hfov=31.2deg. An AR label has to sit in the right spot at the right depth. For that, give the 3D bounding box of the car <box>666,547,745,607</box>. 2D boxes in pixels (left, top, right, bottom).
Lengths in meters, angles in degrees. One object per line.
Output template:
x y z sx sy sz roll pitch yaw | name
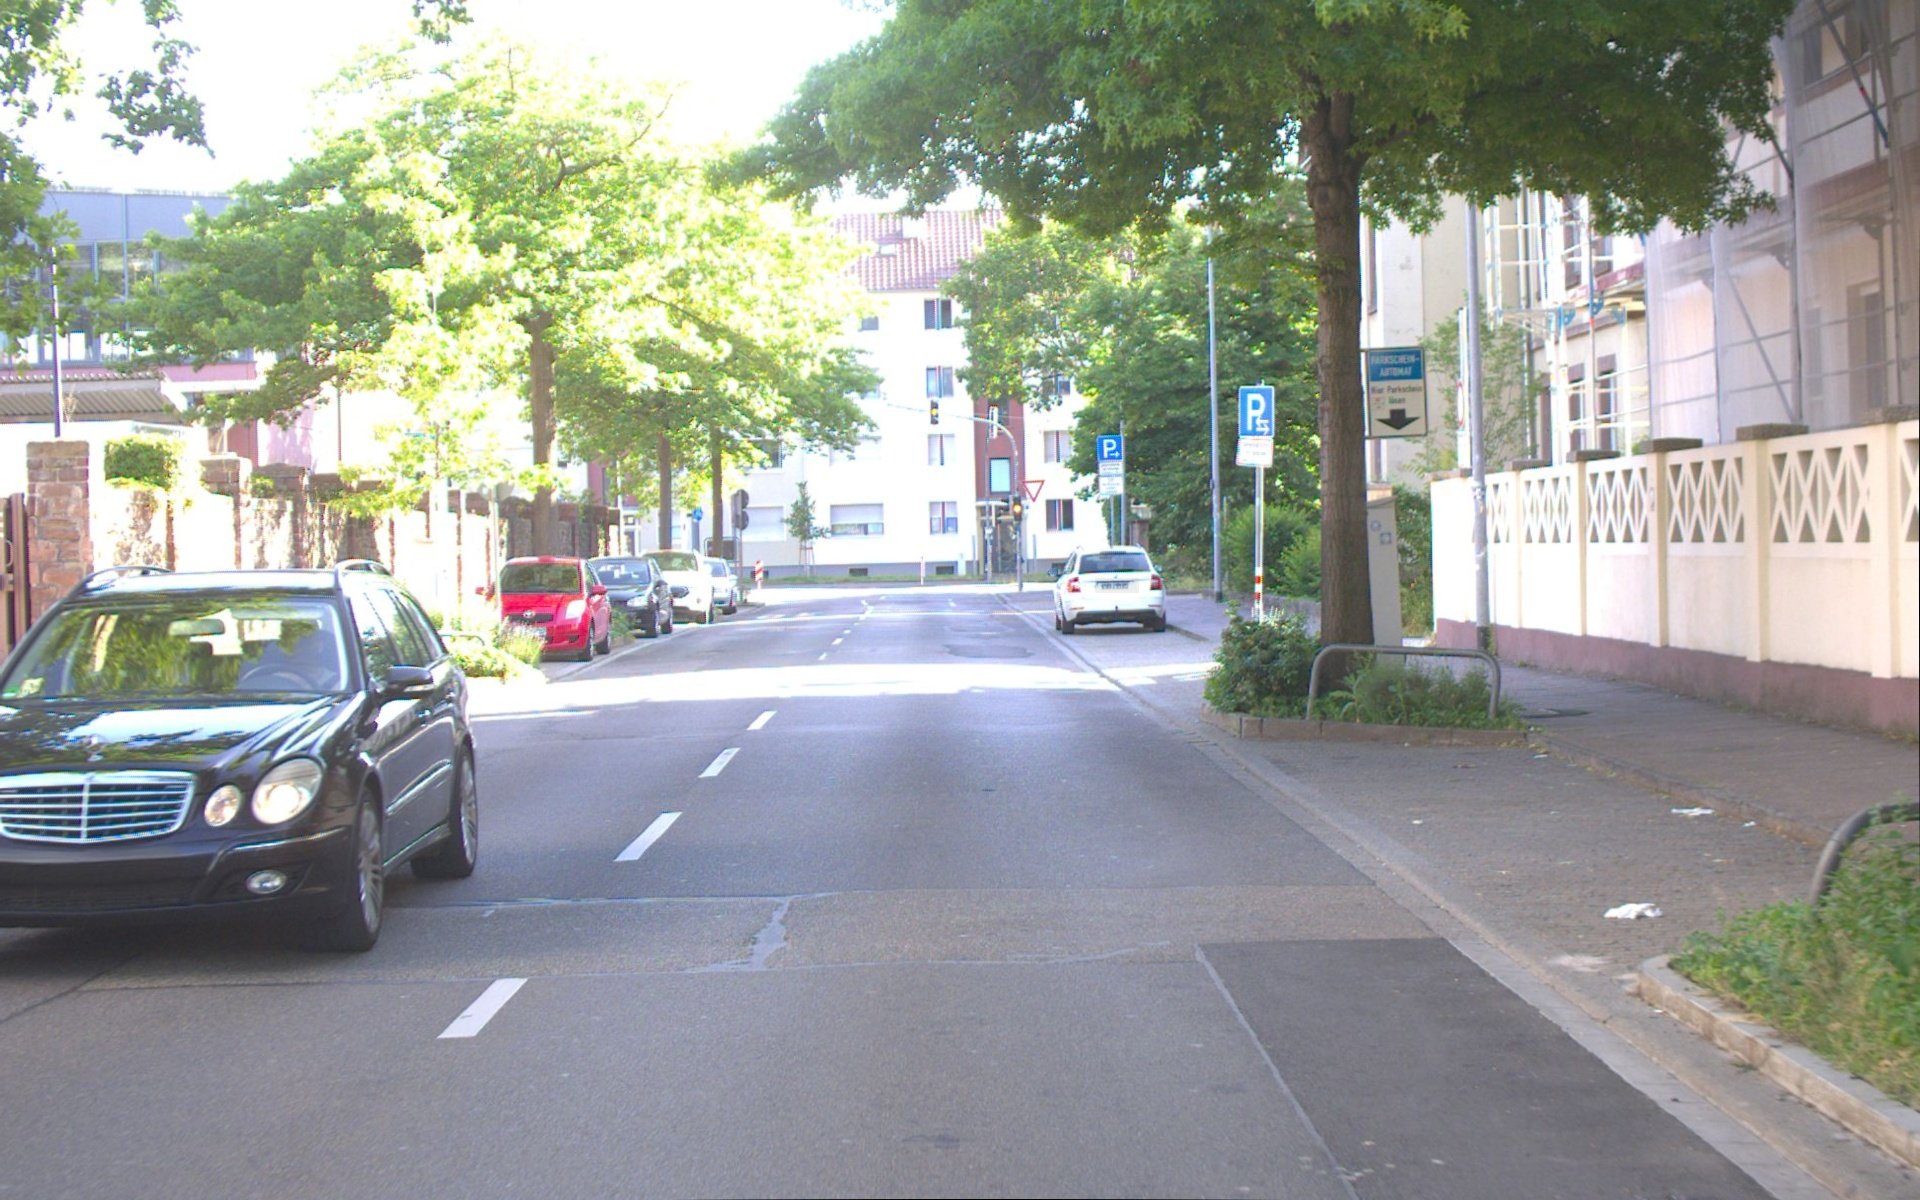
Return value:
-6.461 -0.608 87.519 1.726 1.470 4.478 0 1 -1 | car

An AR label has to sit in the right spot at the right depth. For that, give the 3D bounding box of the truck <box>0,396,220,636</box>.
-14.380 -1.366 56.951 2.732 3.698 7.429 0 1 -1 | truck

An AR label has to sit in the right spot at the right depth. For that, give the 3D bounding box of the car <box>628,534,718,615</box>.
-6.266 -0.584 75.432 1.720 1.678 4.351 -1 1 -2 | car

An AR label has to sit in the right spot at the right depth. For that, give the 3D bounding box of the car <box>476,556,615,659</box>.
-6.128 0.087 51.131 1.609 1.454 3.708 0 1 0 | car

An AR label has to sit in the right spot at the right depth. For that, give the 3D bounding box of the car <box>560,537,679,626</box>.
-6.351 -0.379 64.468 1.737 1.587 4.107 -1 1 1 | car

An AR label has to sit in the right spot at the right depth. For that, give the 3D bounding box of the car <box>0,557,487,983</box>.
-3.079 0.586 14.190 1.821 1.431 3.970 -2 1 -2 | car

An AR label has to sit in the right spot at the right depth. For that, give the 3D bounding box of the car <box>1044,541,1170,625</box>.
2.476 -0.323 58.732 1.832 1.318 4.496 -2 1 -1 | car
